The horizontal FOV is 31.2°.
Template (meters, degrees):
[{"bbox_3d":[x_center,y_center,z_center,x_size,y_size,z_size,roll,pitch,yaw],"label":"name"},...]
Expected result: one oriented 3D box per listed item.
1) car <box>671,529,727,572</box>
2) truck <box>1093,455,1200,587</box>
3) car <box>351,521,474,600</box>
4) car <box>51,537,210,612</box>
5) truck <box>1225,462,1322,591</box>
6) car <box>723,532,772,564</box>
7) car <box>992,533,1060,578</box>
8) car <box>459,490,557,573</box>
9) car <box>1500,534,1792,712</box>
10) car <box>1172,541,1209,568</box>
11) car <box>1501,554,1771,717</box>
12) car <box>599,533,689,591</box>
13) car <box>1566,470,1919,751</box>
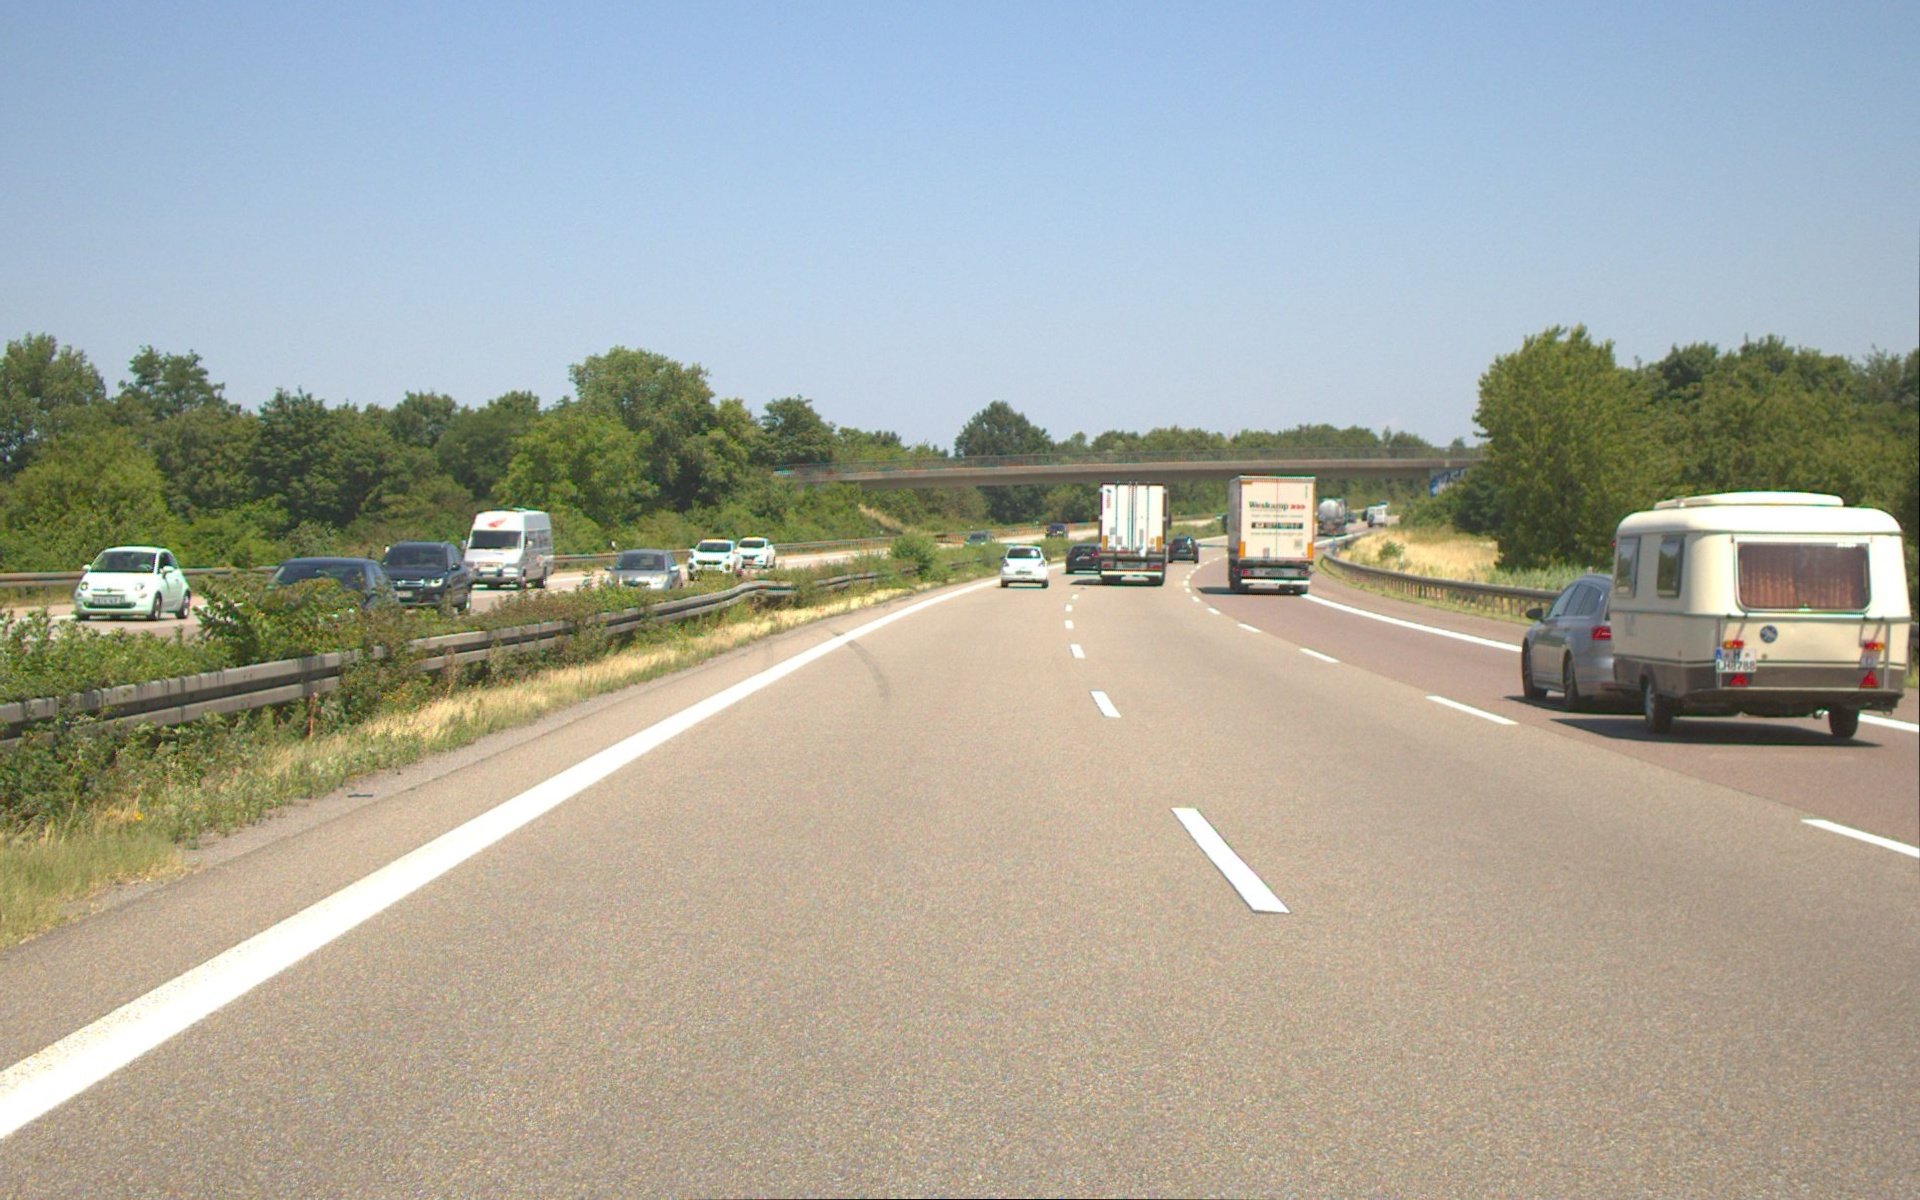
[{"bbox_3d":[-10.531,-2.012,139.024,1.788,1.675,4.901,1,1,1],"label":"car"},{"bbox_3d":[7.675,-3.297,139.285,3.667,5.001,16.015,1,2,5],"label":"truck"},{"bbox_3d":[-12.254,-0.887,77.220,1.993,1.692,4.607,1,1,0],"label":"car"},{"bbox_3d":[-16.863,-0.534,70.066,1.994,1.453,4.087,1,1,4],"label":"car"},{"bbox_3d":[11.360,-2.746,123.796,3.182,4.289,16.015,1,2,6],"label":"truck"},{"bbox_3d":[-10.891,-2.685,176.540,1.747,1.535,4.827,2,2,5],"label":"car"},{"bbox_3d":[2.417,-1.626,125.349,1.828,1.541,4.317,2,2,10],"label":"car"},{"bbox_3d":[-15.080,-2.275,115.137,1.994,2.676,7.182,1,1,3],"label":"car"},{"bbox_3d":[7.277,0.176,37.050,2.045,1.652,5.511,0,2,0],"label":"car"},{"bbox_3d":[14.174,-2.813,211.000,1.828,1.541,4.317,2,2,10],"label":"car"},{"bbox_3d":[7.213,0.320,37.202,1.887,1.510,5.380,2,2,1],"label":"car"},{"bbox_3d":[-8.271,-1.001,90.283,1.747,1.461,4.250,1,1,3],"label":"car"},{"bbox_3d":[7.226,-0.008,31.485,2.442,2.313,5.322,-1,2,1],"label":"car"}]
